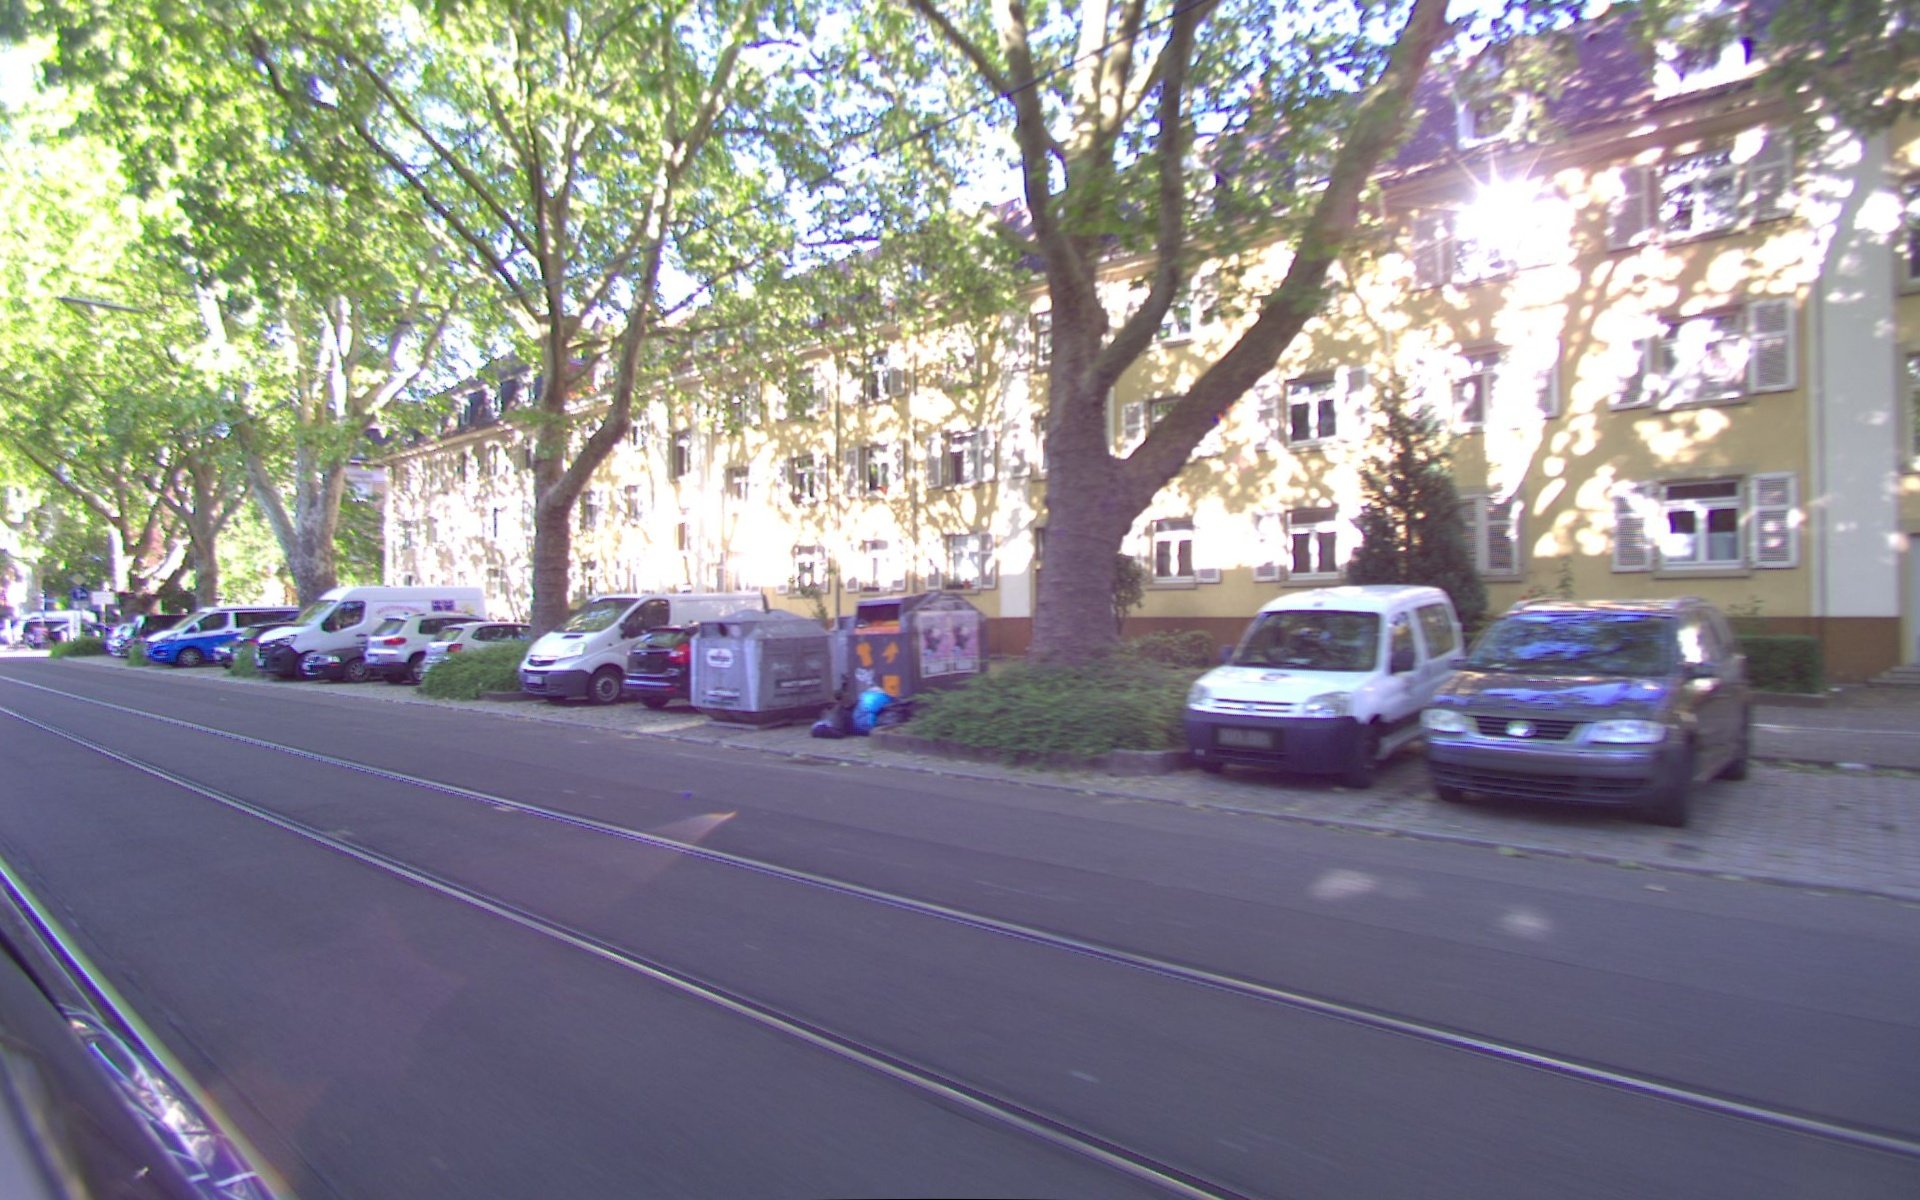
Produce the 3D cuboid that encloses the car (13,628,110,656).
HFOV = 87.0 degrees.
[{"bbox_3d":[-53.656,2.498,60.494,1.923,1.527,4.119,-2,-2,39],"label":"car"}]

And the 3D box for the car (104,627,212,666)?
[{"bbox_3d":[-35.567,2.026,44.925,3.639,1.565,1.705,0,-1,-44],"label":"car"}]

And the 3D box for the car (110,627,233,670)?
[{"bbox_3d":[-32.372,1.952,41.600,1.796,1.636,3.650,-1,-1,35],"label":"car"}]

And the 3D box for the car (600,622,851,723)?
[{"bbox_3d":[-3.866,1.139,17.162,1.861,1.509,3.807,-2,-2,41],"label":"car"}]

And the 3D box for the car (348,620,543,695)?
[{"bbox_3d":[-12.430,1.328,24.621,1.861,1.675,3.807,-2,-2,41],"label":"car"}]

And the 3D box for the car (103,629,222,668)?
[{"bbox_3d":[-33.907,2.046,43.101,1.697,1.497,3.651,-1,-1,34],"label":"car"}]

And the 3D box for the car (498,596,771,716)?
[{"bbox_3d":[-5.947,0.933,19.016,1.959,1.960,4.613,-1,-1,37],"label":"car"}]

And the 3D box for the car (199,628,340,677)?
[{"bbox_3d":[-22.796,1.698,33.508,1.692,1.471,3.500,-1,-1,34],"label":"car"}]

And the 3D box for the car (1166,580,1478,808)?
[{"bbox_3d":[3.773,0.747,10.077,1.737,1.771,4.159,-1,-1,37],"label":"car"}]

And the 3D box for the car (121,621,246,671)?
[{"bbox_3d":[-30.650,1.761,40.006,1.703,1.828,3.645,-2,-1,40],"label":"car"}]

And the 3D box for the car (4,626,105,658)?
[{"bbox_3d":[-55.638,2.553,62.254,2.026,1.779,4.409,-2,-2,39],"label":"car"}]

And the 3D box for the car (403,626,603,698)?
[{"bbox_3d":[-10.500,1.367,23.421,1.861,1.509,3.807,-2,-2,41],"label":"car"}]

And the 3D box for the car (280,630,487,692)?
[{"bbox_3d":[-14.477,1.483,25.613,1.752,1.409,4.220,-2,-2,41],"label":"car"}]

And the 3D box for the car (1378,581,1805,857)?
[{"bbox_3d":[5.378,0.787,8.397,4.183,1.701,1.935,1,-2,-42],"label":"car"}]

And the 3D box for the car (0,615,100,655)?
[{"bbox_3d":[-59.837,2.267,66.396,2.026,2.416,4.957,-2,-2,39],"label":"car"}]

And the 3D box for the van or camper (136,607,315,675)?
[{"bbox_3d":[-25.825,1.386,35.737,2.117,2.206,4.771,-2,-1,40],"label":"van or camper"}]

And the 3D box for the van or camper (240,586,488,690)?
[{"bbox_3d":[-16.135,0.953,27.646,2.443,2.535,5.335,-2,-1,40],"label":"van or camper"}]

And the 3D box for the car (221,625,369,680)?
[{"bbox_3d":[-20.927,1.610,31.941,1.612,1.577,3.643,-2,-1,42],"label":"car"}]
